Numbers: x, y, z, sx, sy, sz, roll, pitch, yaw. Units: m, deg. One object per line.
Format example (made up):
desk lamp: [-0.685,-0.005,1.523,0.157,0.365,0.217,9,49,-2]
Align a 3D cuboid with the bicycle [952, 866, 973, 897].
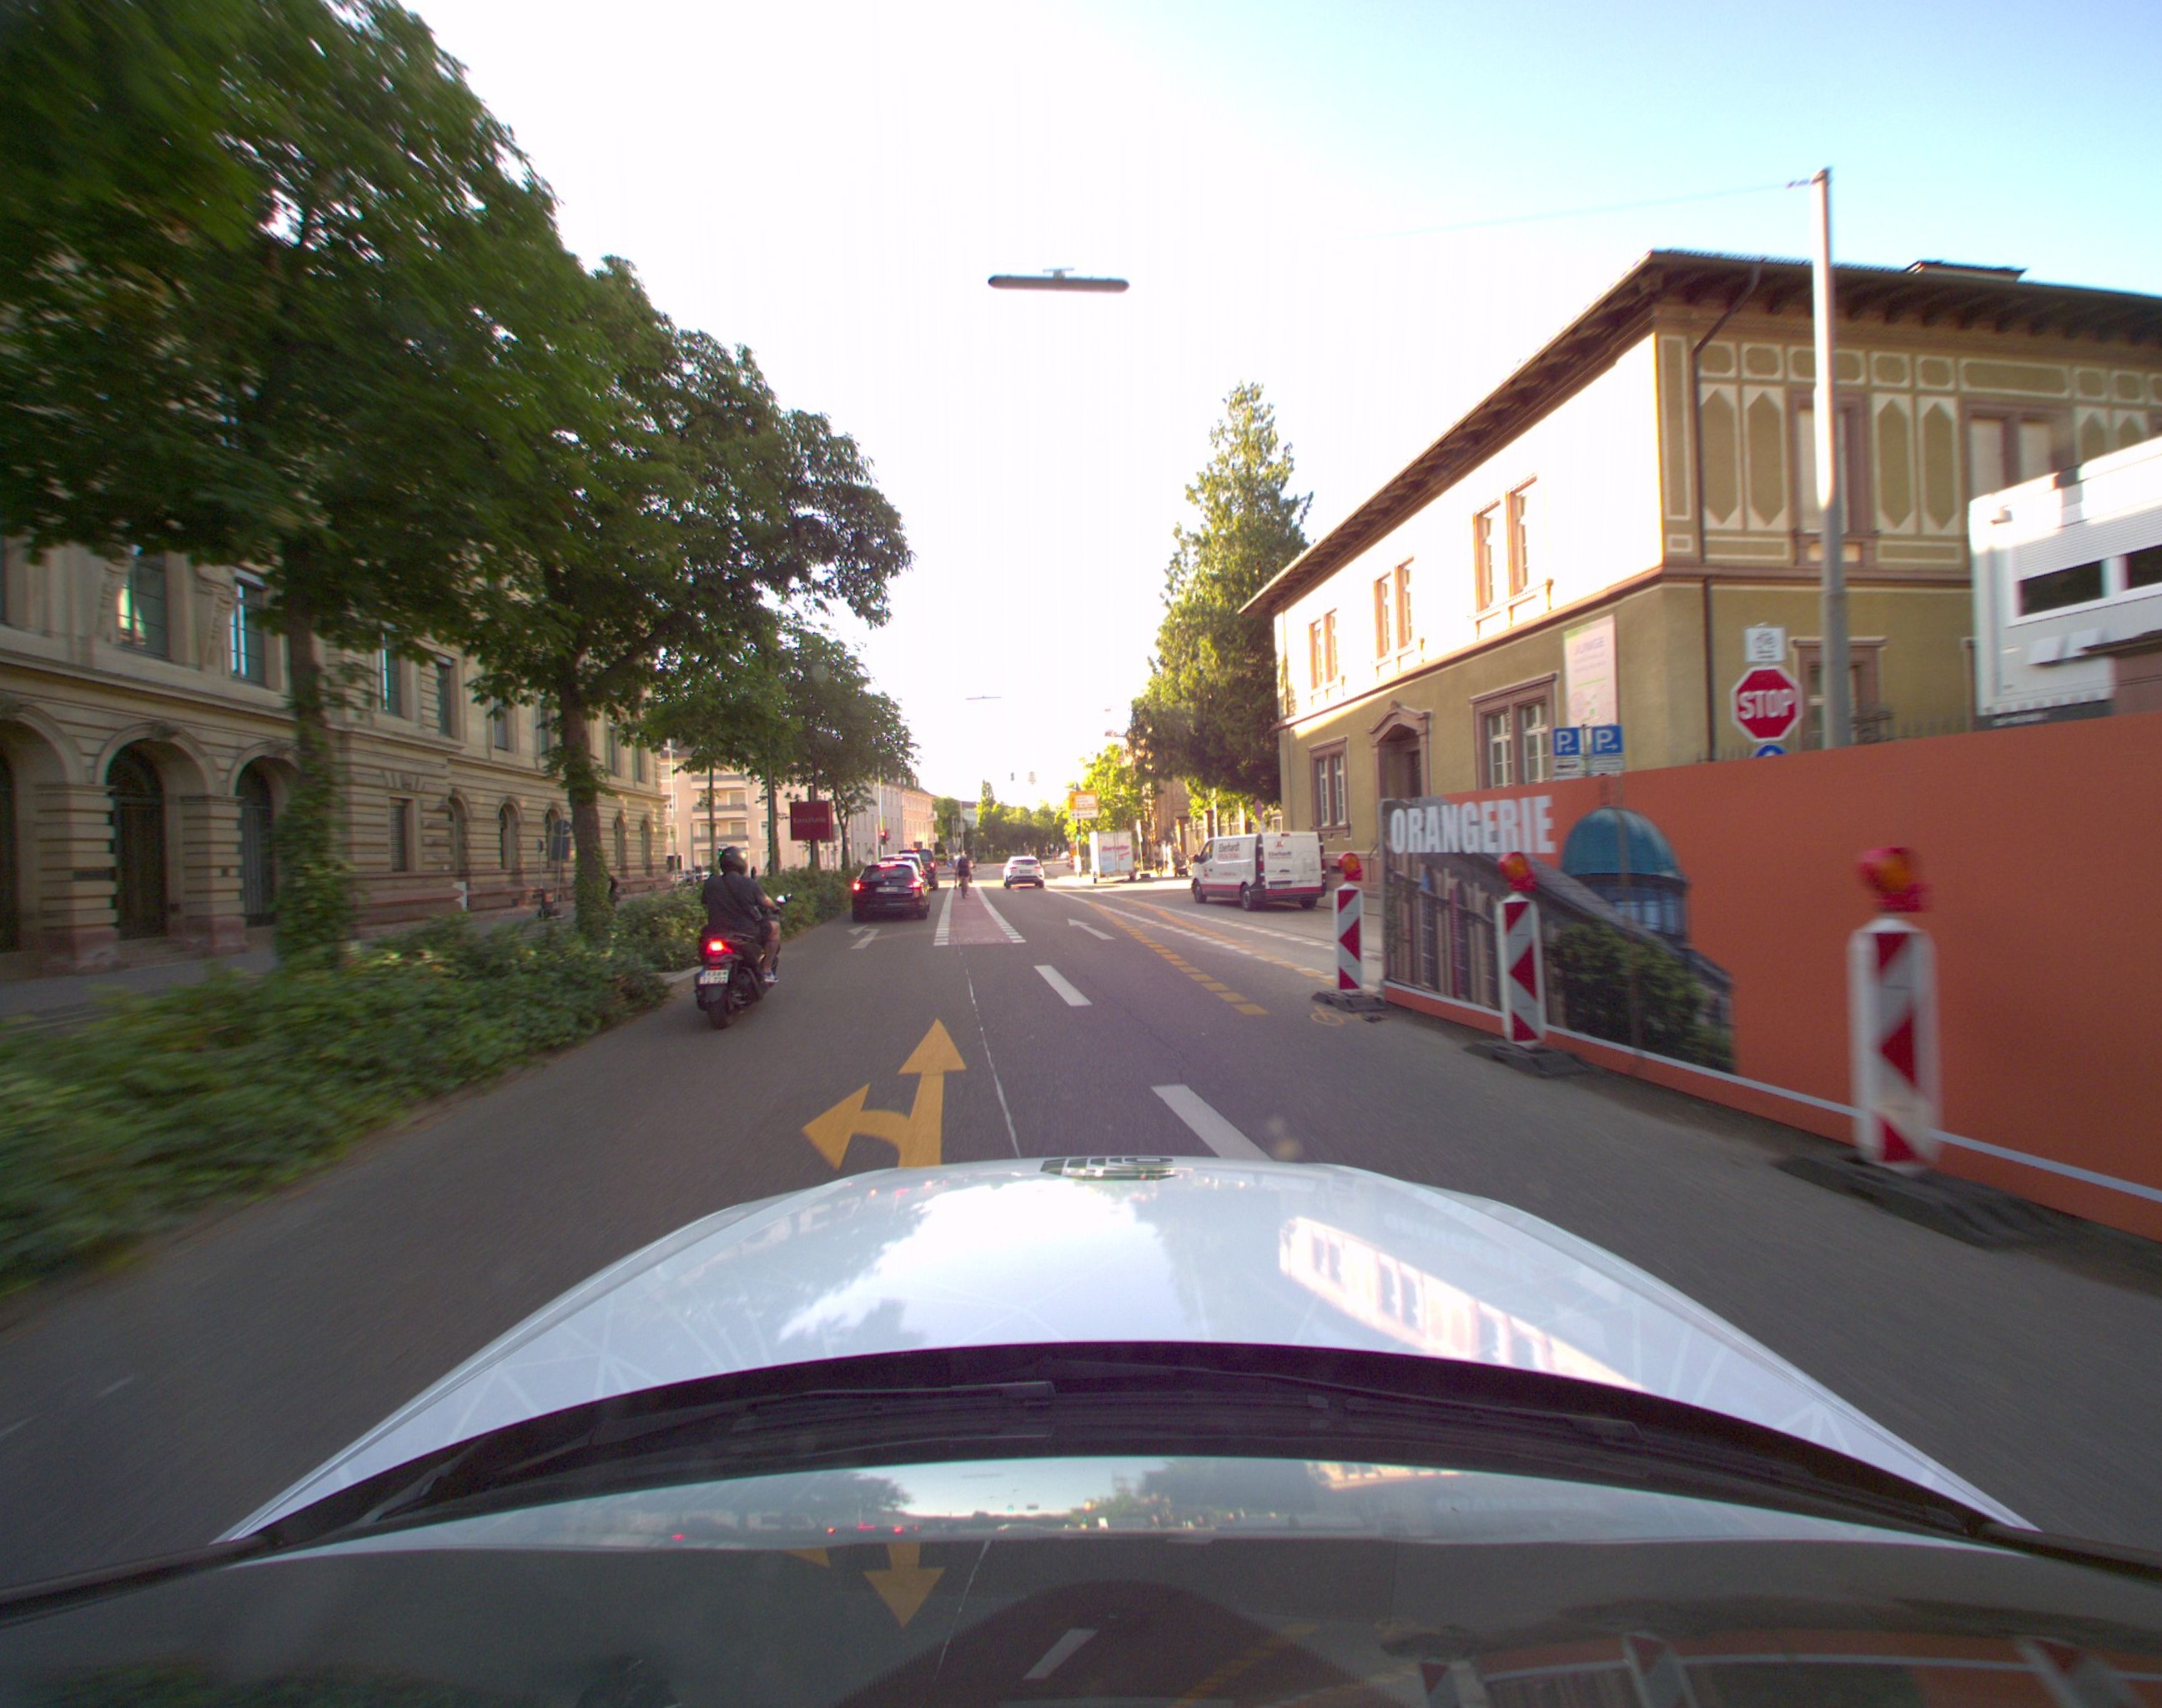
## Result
bicycle: [-4.433,1.022,30.507,0.668,1.072,1.749,-2,0,-6]

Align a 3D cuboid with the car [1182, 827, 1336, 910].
car: [4.656,0.372,22.357,2.016,1.945,5.458,-1,0,-12]

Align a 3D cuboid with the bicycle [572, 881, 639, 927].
bicycle: [-14.446,1.503,24.817,0.880,1.194,2.169,-6,0,-7]

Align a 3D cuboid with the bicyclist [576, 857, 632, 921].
bicyclist: [-14.478,1.044,24.777,0.880,1.834,1.282,-5,0,-8]

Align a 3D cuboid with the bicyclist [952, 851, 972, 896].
bicyclist: [-4.422,0.714,30.419,0.672,1.652,0.885,-2,0,-7]

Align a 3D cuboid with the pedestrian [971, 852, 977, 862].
pedestrian: [-20.387,0.618,155.417,0.851,1.851,1.003,-3,0,7]

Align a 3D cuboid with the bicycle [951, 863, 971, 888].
bicycle: [-5.753,1.021,39.066,0.827,1.143,1.966,-2,0,-5]

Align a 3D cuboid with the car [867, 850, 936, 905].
car: [-6.496,0.799,29.944,1.990,1.749,4.735,-3,0,-8]

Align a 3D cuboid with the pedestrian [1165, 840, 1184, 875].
pedestrian: [4.725,0.166,41.095,0.682,1.701,0.691,-4,1,-9]

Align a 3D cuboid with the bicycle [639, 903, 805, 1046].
bicycle: [-3.489,1.104,8.210,0.869,1.042,2.447,-1,0,-8]

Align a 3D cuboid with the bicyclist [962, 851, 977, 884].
bicyclist: [-5.723,0.684,41.815,0.669,1.608,0.823,-3,0,-5]

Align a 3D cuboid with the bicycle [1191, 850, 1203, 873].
bicycle: [5.959,0.369,41.788,0.273,1.105,1.530,-4,1,-3]

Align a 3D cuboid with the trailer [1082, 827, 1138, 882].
trailer: [1.439,0.004,41.779,2.077,2.528,4.482,-4,1,-6]

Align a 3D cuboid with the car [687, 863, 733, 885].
car: [-31.455,1.673,69.161,1.990,1.686,4.607,-3,0,-5]

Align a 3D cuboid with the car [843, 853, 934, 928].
car: [-4.917,0.848,21.393,1.994,1.657,4.720,-3,0,-10]

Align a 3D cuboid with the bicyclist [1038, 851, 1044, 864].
bicyclist: [-5.008,0.402,102.265,0.634,1.614,1.284,-2,0,1]

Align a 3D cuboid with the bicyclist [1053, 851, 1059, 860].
bicyclist: [-3.938,0.243,130.813,0.743,1.537,0.972,-2,0,8]

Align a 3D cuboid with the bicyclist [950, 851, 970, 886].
bicyclist: [-5.788,0.694,39.048,0.801,1.608,0.823,-3,0,-5]

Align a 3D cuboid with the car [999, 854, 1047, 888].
car: [-2.874,0.795,39.641,1.992,1.453,3.989,-3,0,-8]

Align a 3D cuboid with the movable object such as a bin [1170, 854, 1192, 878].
movable object such as a bin: [4.927,0.582,40.213,0.711,1.117,1.047,-5,1,-10]

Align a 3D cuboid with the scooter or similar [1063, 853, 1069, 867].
scooter or similar: [-1.499,0.565,81.111,0.553,1.308,1.832,-3,0,0]

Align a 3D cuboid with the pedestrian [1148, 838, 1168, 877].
pedestrian: [3.835,0.153,40.655,0.715,1.894,0.887,-4,1,-10]

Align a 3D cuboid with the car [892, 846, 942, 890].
car: [-7.982,0.662,40.055,2.067,1.915,5.019,-3,0,-8]

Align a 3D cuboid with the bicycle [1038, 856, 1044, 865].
bicycle: [-4.990,0.801,102.063,0.641,1.024,2.212,-1,0,0]

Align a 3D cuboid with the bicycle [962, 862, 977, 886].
bicycle: [-5.709,0.991,41.825,0.641,1.155,2.073,-2,0,-5]

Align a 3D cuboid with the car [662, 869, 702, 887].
car: [-33.682,2.041,68.897,1.603,1.310,3.994,-3,0,-4]

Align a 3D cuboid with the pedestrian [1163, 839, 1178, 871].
pedestrian: [5.078,0.046,46.409,0.638,1.768,0.736,-3,0,-5]

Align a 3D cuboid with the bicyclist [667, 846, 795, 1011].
bicyclist: [-3.479,0.692,8.218,0.867,1.523,1.228,-1,0,-8]

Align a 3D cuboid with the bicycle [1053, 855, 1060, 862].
bicycle: [-3.925,0.752,130.775,0.749,1.026,1.874,-1,0,8]

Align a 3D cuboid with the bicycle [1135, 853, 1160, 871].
bicycle: [4.109,0.475,50.458,1.465,1.039,0.478,-3,0,-8]

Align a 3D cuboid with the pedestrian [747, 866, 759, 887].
pedestrian: [-24.566,1.680,60.959,0.630,1.583,0.817,0,0,-5]
